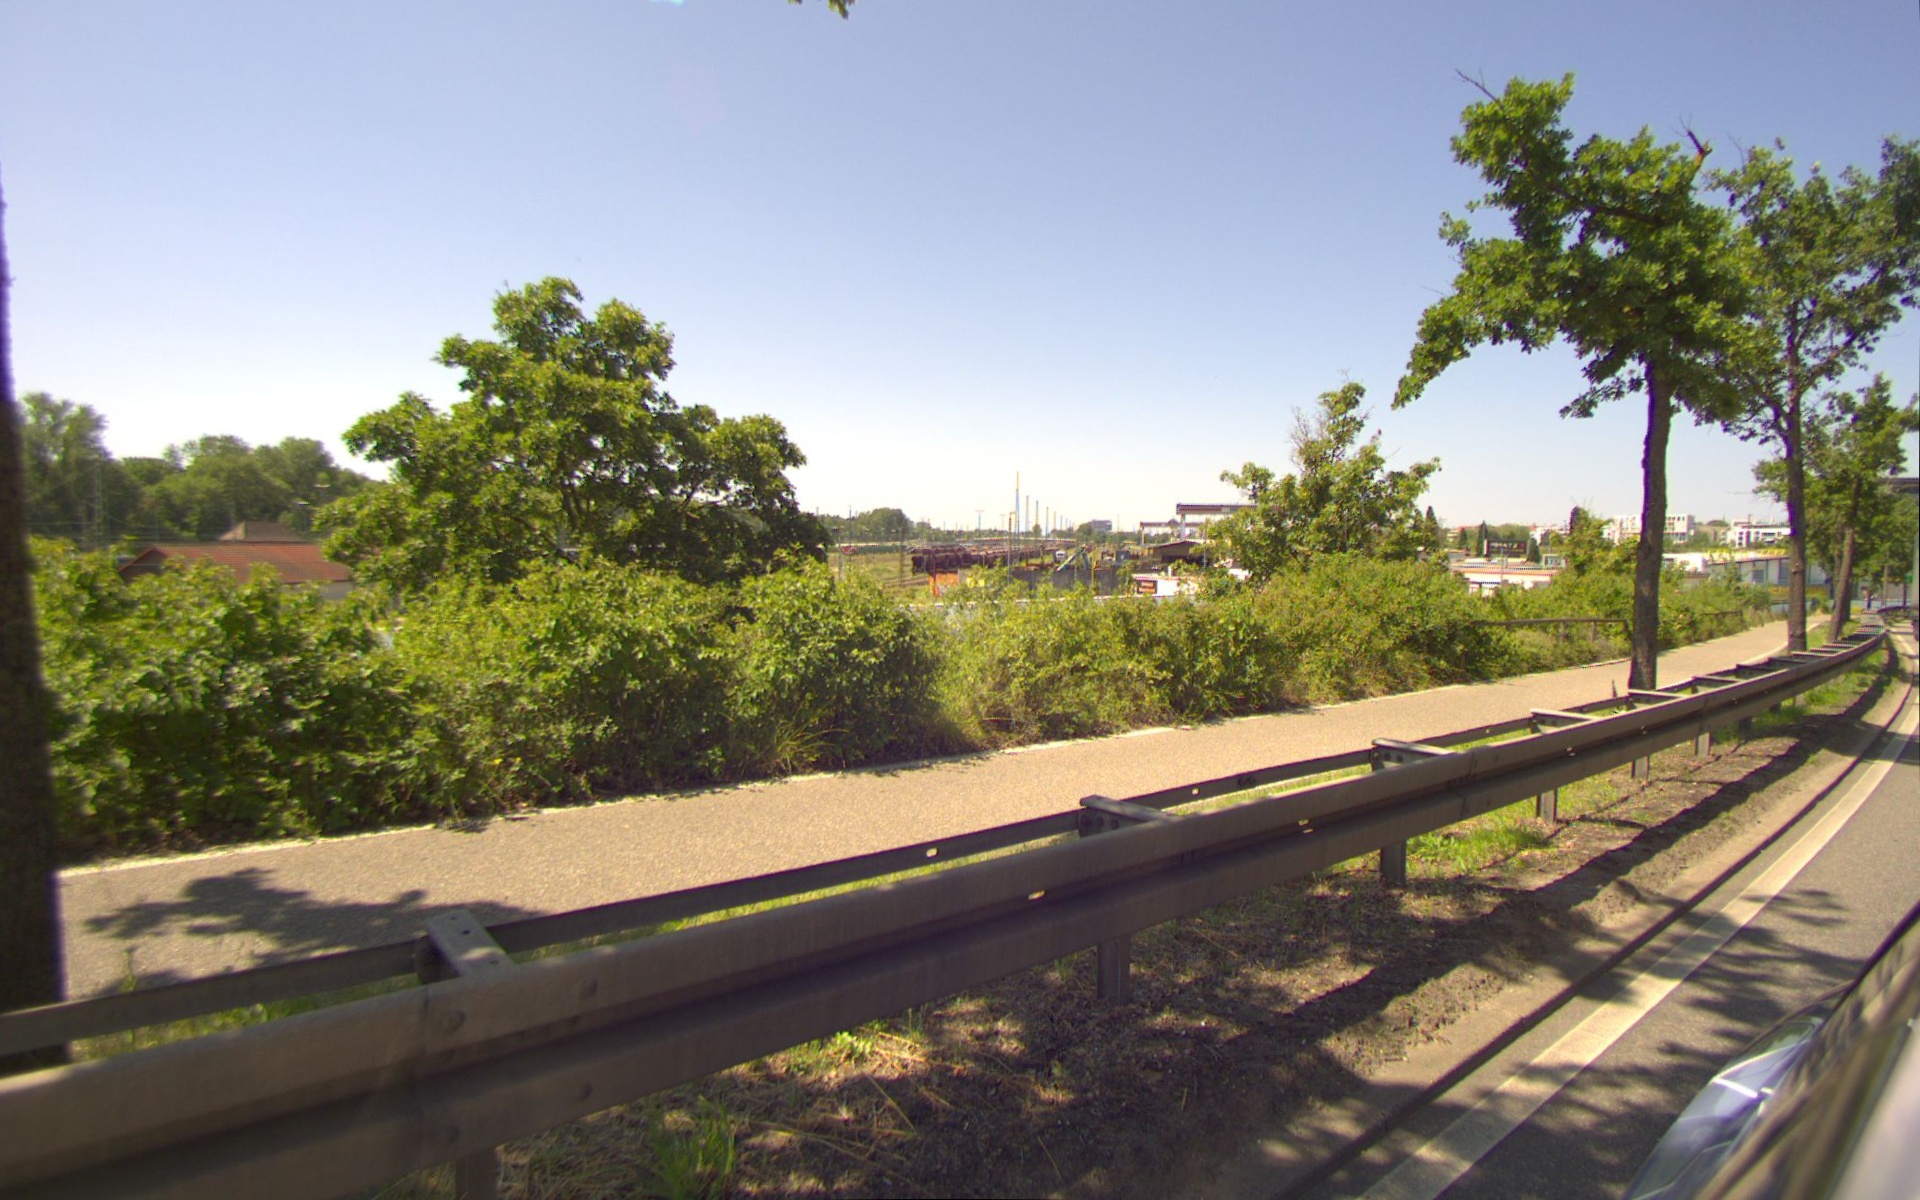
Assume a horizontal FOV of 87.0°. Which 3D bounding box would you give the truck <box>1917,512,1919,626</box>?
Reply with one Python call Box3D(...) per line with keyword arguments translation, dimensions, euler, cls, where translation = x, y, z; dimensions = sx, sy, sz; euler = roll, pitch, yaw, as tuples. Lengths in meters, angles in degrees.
Box3D(translation=(33.146, -1.086, 32.482), dimensions=(3.061, 4.223, 16.655), euler=(0, 1, 42), cls="truck")
